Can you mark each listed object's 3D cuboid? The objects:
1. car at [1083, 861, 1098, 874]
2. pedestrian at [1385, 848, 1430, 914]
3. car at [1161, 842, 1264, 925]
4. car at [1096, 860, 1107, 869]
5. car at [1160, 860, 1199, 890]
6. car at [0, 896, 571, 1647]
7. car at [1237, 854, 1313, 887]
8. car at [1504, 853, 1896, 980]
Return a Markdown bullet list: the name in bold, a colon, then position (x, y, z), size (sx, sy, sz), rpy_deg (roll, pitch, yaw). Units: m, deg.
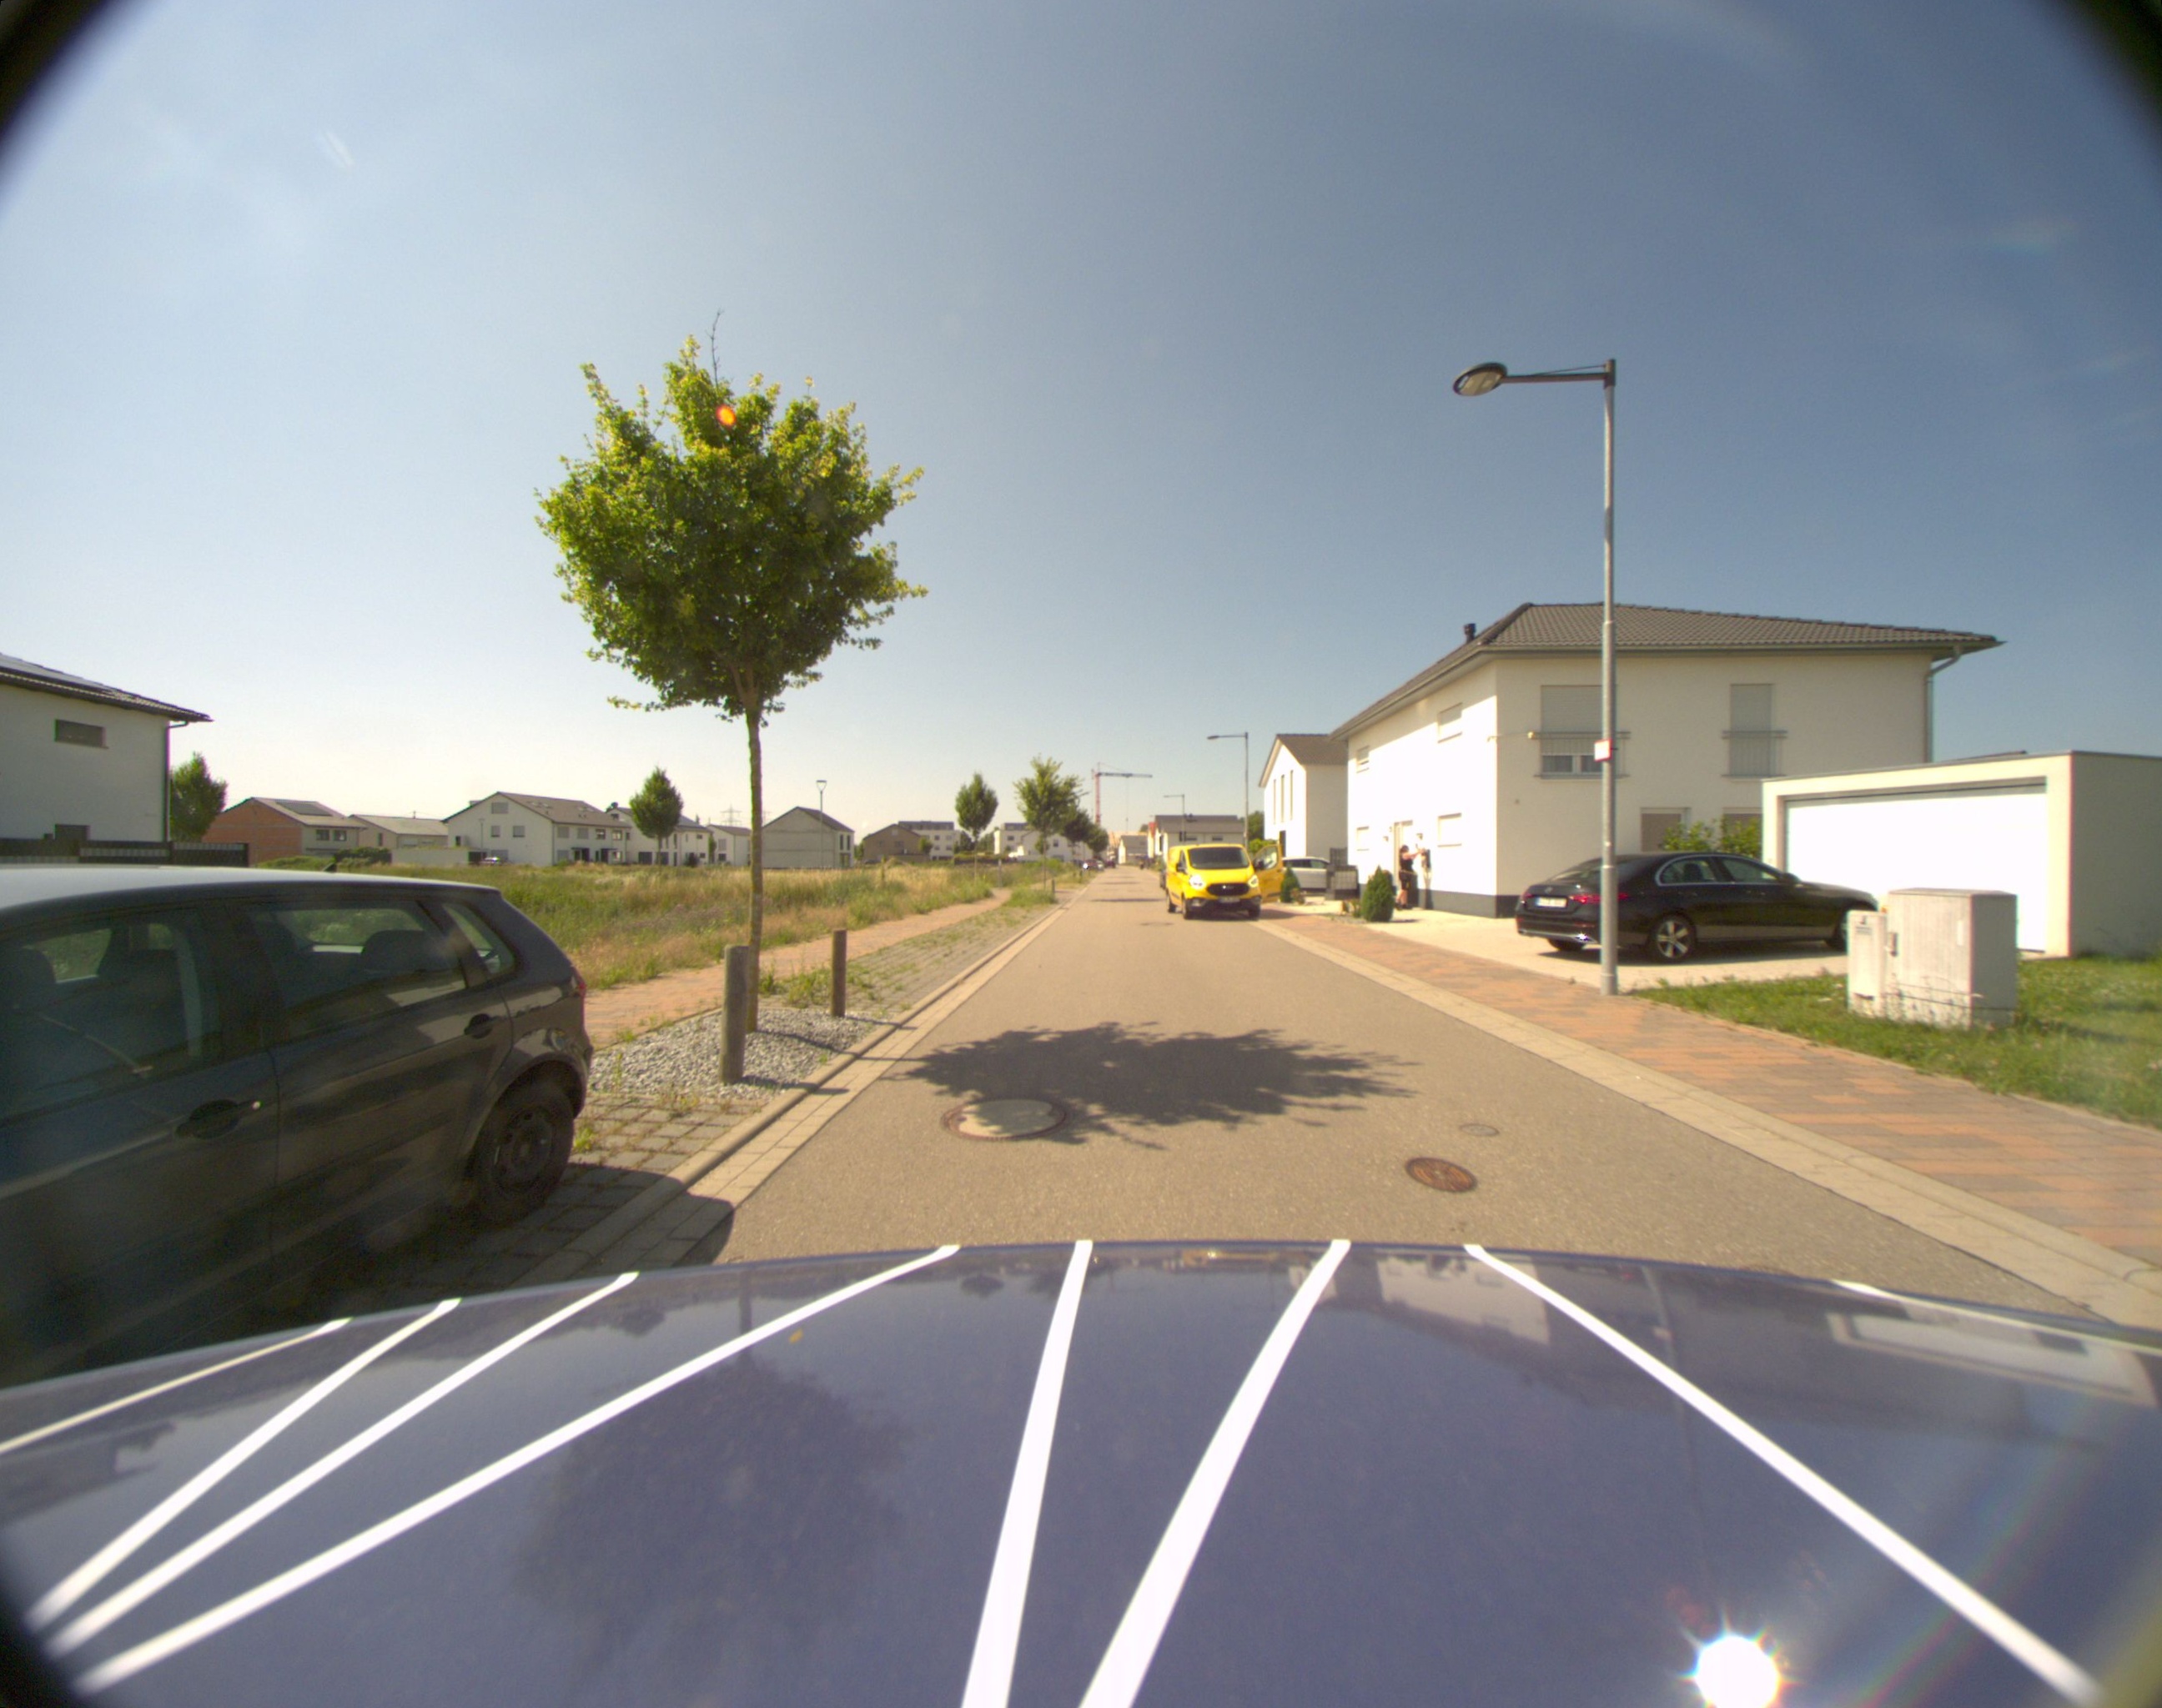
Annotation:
- **car**: position (1.174, 1.609, 92.522), size (1.768, 1.483, 4.001), rpy_deg (0, 0, 2)
- **pedestrian**: position (8.619, 0.704, 20.068), size (0.931, 1.675, 0.537), rpy_deg (-3, 0, 12)
- **car**: position (3.498, 0.746, 21.208), size (1.889, 2.002, 4.840), rpy_deg (-1, 0, -1)
- **car**: position (3.063, 1.561, 112.668), size (1.492, 1.389, 3.273), rpy_deg (0, 0, 2)
- **car**: position (5.226, 1.095, 40.750), size (1.694, 1.464, 4.446), rpy_deg (-2, 0, 3)
- **car**: position (-3.079, 0.932, 1.531), size (1.602, 1.466, 3.675), rpy_deg (2, 0, 0)
- **car**: position (11.342, 0.949, 44.551), size (3.996, 1.841, 2.001), rpy_deg (0, 0, 3)
- **car**: position (8.441, 0.770, 10.505), size (4.408, 1.444, 1.747), rpy_deg (-1, 0, -11)
